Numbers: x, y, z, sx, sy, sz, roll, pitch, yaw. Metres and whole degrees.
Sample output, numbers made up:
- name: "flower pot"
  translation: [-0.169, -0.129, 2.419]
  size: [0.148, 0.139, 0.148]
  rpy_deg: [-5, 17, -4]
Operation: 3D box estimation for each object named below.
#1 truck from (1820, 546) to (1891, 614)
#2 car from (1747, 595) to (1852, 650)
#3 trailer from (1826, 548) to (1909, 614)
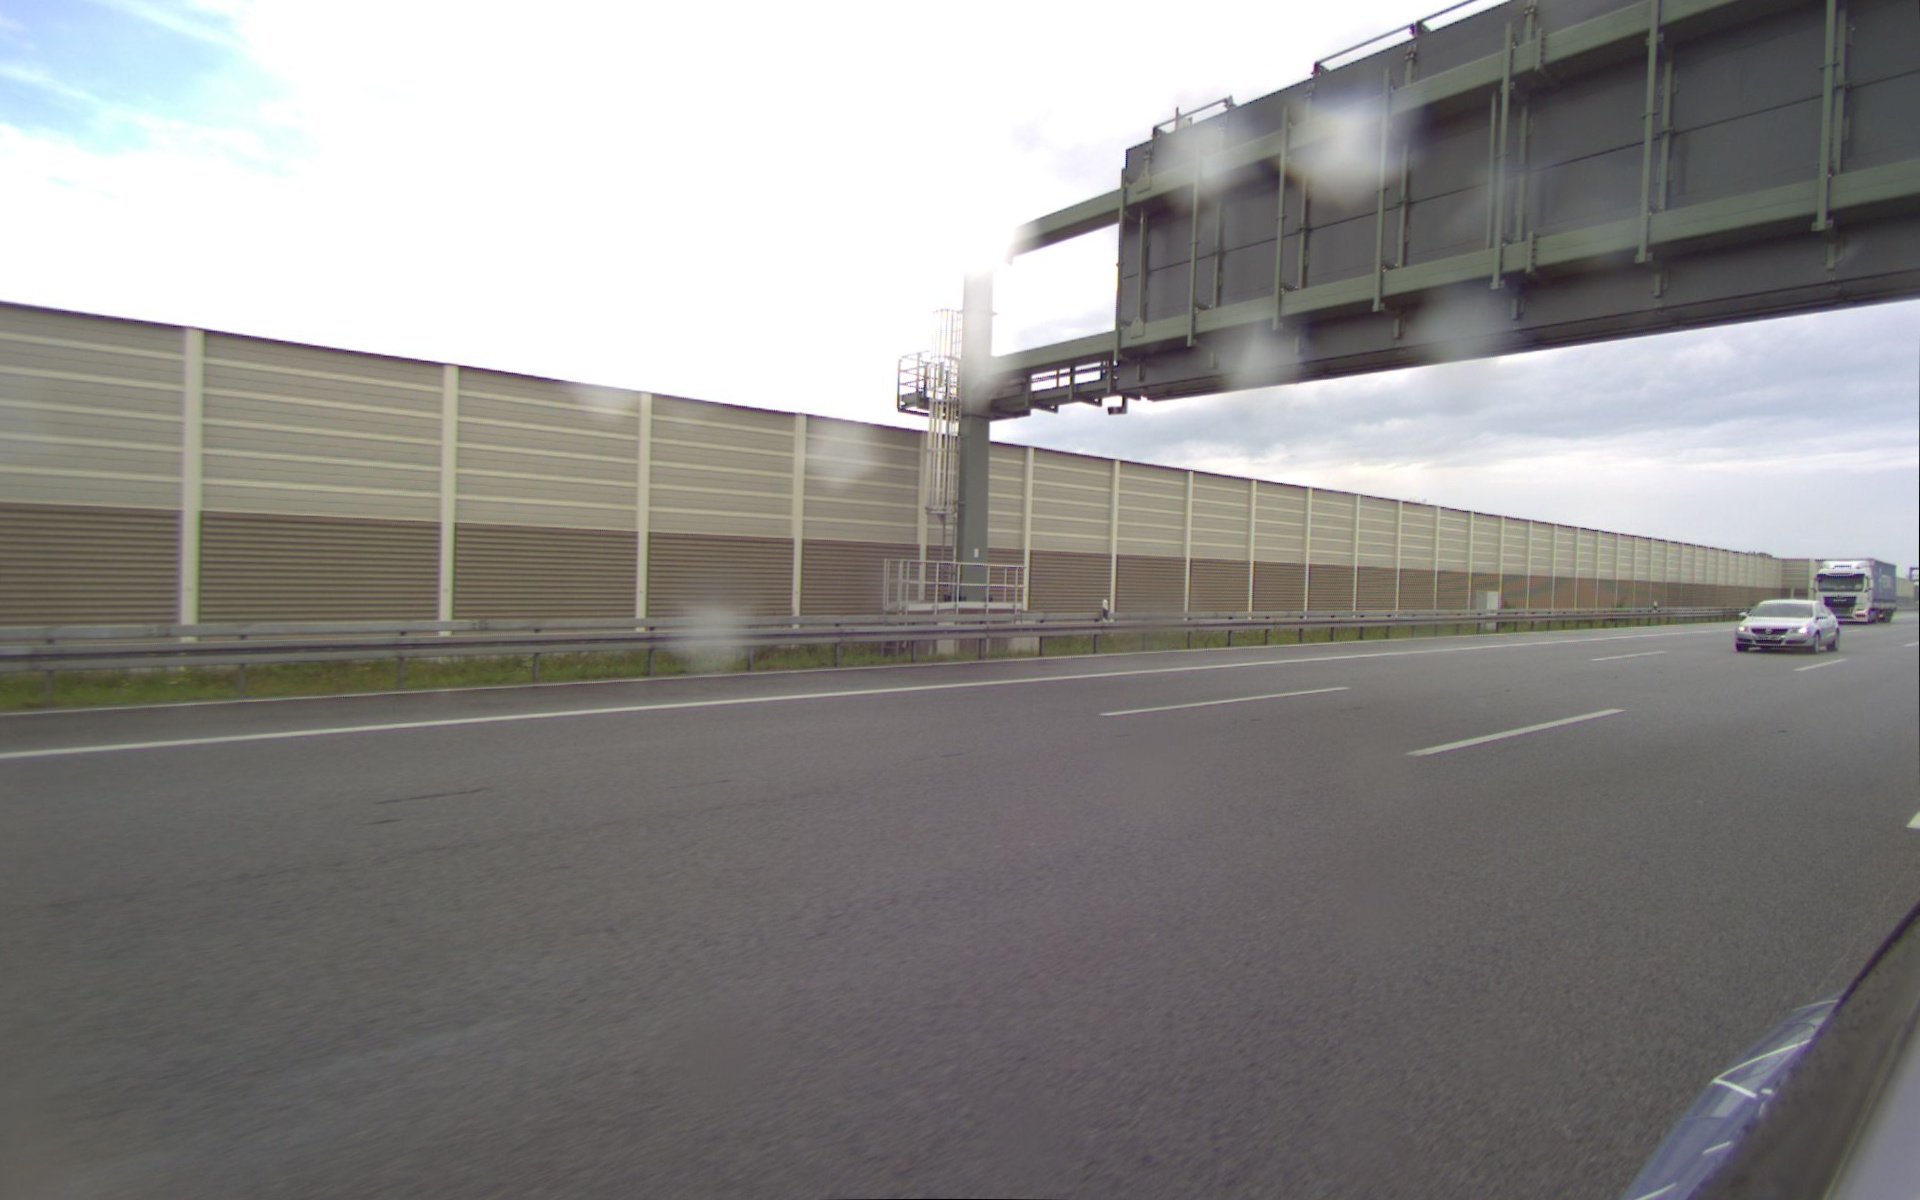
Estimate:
- name: "truck"
  translation: [56.357, -1.211, 63.662]
  size: [5.628, 4.086, 2.748]
  rpy_deg: [1, 0, -42]
- name: "car"
  translation: [23.567, 0.595, 28.362]
  size: [3.931, 1.420, 1.730]
  rpy_deg: [1, 0, -42]
- name: "trailer"
  translation: [61.447, -1.119, 68.367]
  size: [14.205, 4.083, 2.765]
  rpy_deg: [1, 0, -43]
